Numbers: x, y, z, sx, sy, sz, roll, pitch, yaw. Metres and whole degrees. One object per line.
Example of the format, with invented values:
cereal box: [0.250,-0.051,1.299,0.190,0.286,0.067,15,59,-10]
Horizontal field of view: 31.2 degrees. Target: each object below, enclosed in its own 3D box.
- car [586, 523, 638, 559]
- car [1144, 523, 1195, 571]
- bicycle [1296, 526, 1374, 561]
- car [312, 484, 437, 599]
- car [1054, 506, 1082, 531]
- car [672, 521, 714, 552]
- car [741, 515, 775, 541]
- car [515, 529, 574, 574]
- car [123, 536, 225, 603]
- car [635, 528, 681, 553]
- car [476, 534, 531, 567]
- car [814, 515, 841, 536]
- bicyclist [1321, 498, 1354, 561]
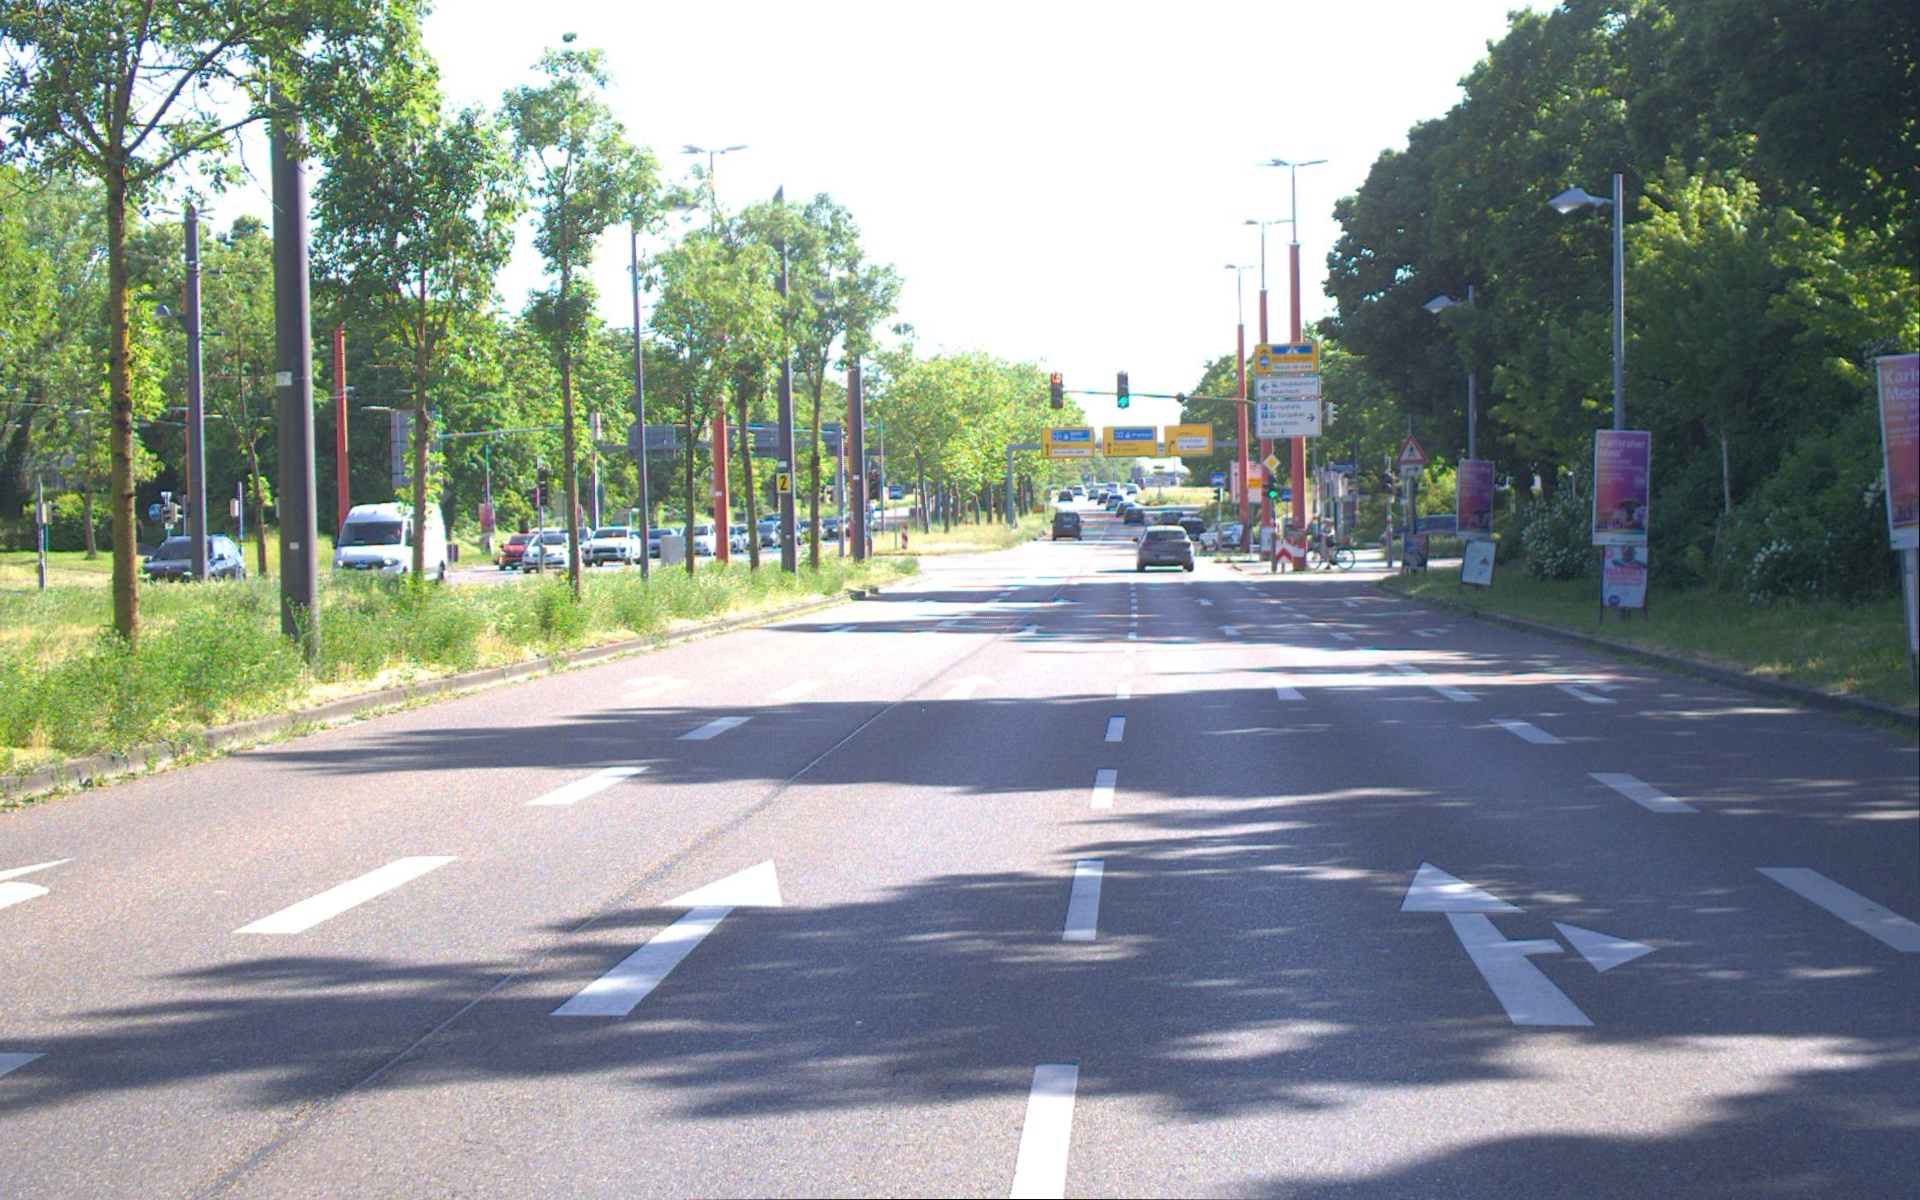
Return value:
car: [-14.293,-2.428,141.441,1.631,1.440,4.192,0,1,1]
car: [6.777,-1.732,111.341,1.634,1.493,4.234,0,1,3]
bicycle: [11.984,-1.801,109.848,2.415,1.105,0.812,0,1,3]
car: [-16.968,-1.700,99.951,2.465,3.228,6.134,0,1,1]
car: [6.617,-5.008,210.812,1.634,1.493,4.234,0,1,3]
car: [-12.989,-3.100,167.375,1.631,1.440,4.192,0,1,1]
car: [-11.381,-4.059,193.797,1.631,1.440,4.192,0,1,1]
car: [-15.598,-1.833,129.077,1.631,1.675,4.192,0,1,1]
car: [-20.458,-0.808,89.649,1.631,1.675,4.192,0,1,1]
car: [-13.714,-2.709,156.406,1.631,1.107,4.192,0,1,1]
car: [-18.651,-2.041,140.647,1.631,1.284,4.099,0,1,1]
car: [-9.114,-5.100,236.158,1.631,1.440,4.192,0,1,1]
bicyclist: [12.063,-2.244,109.834,1.009,2.000,0.812,0,1,3]
